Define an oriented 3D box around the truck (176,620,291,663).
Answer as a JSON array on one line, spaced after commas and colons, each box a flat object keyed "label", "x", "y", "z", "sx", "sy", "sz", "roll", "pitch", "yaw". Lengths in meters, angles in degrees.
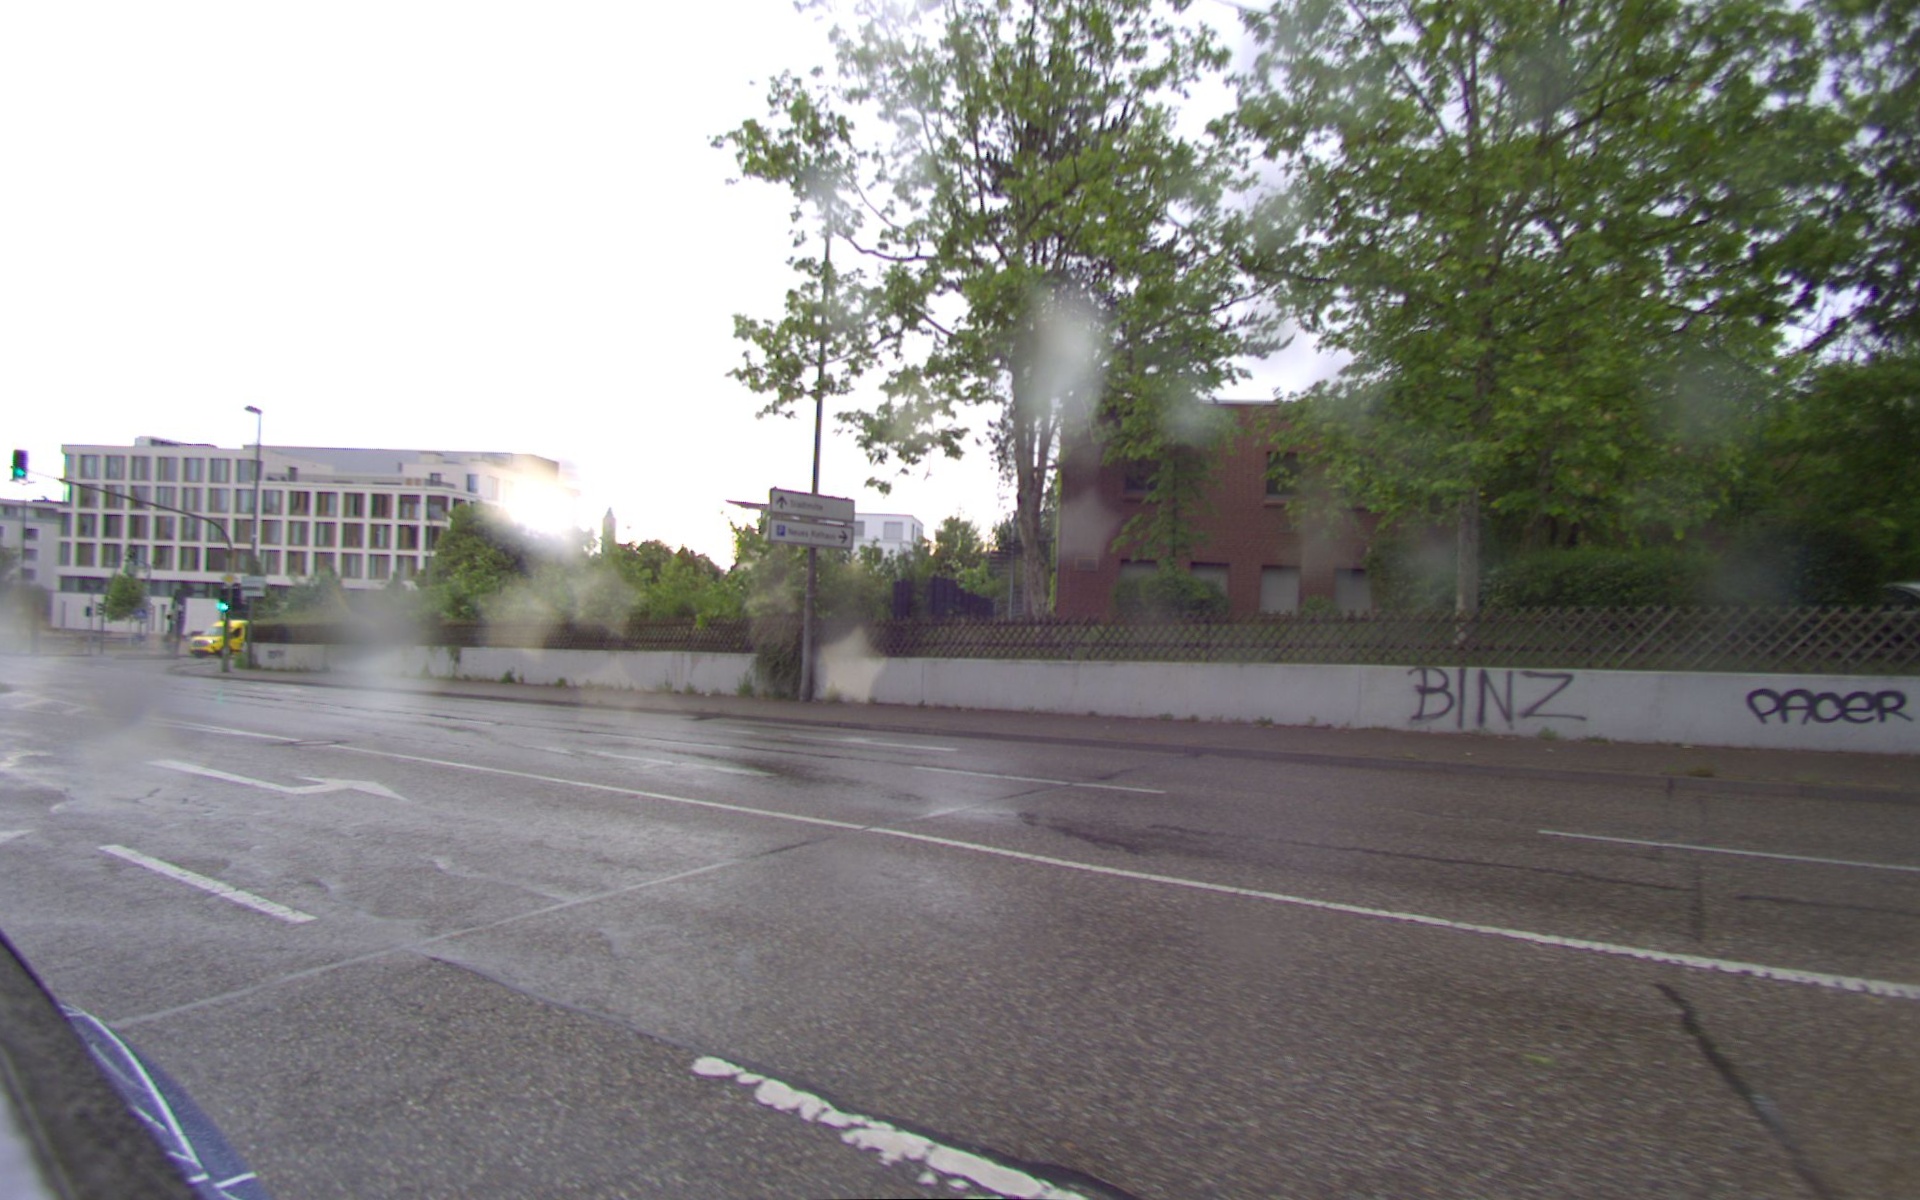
[{"label": "truck", "x": -46.772, "y": 2.707, "z": 65.385, "sx": 2.205, "sy": 2.557, "sz": 6.153, "roll": 1, "pitch": -3, "yaw": 11}]
